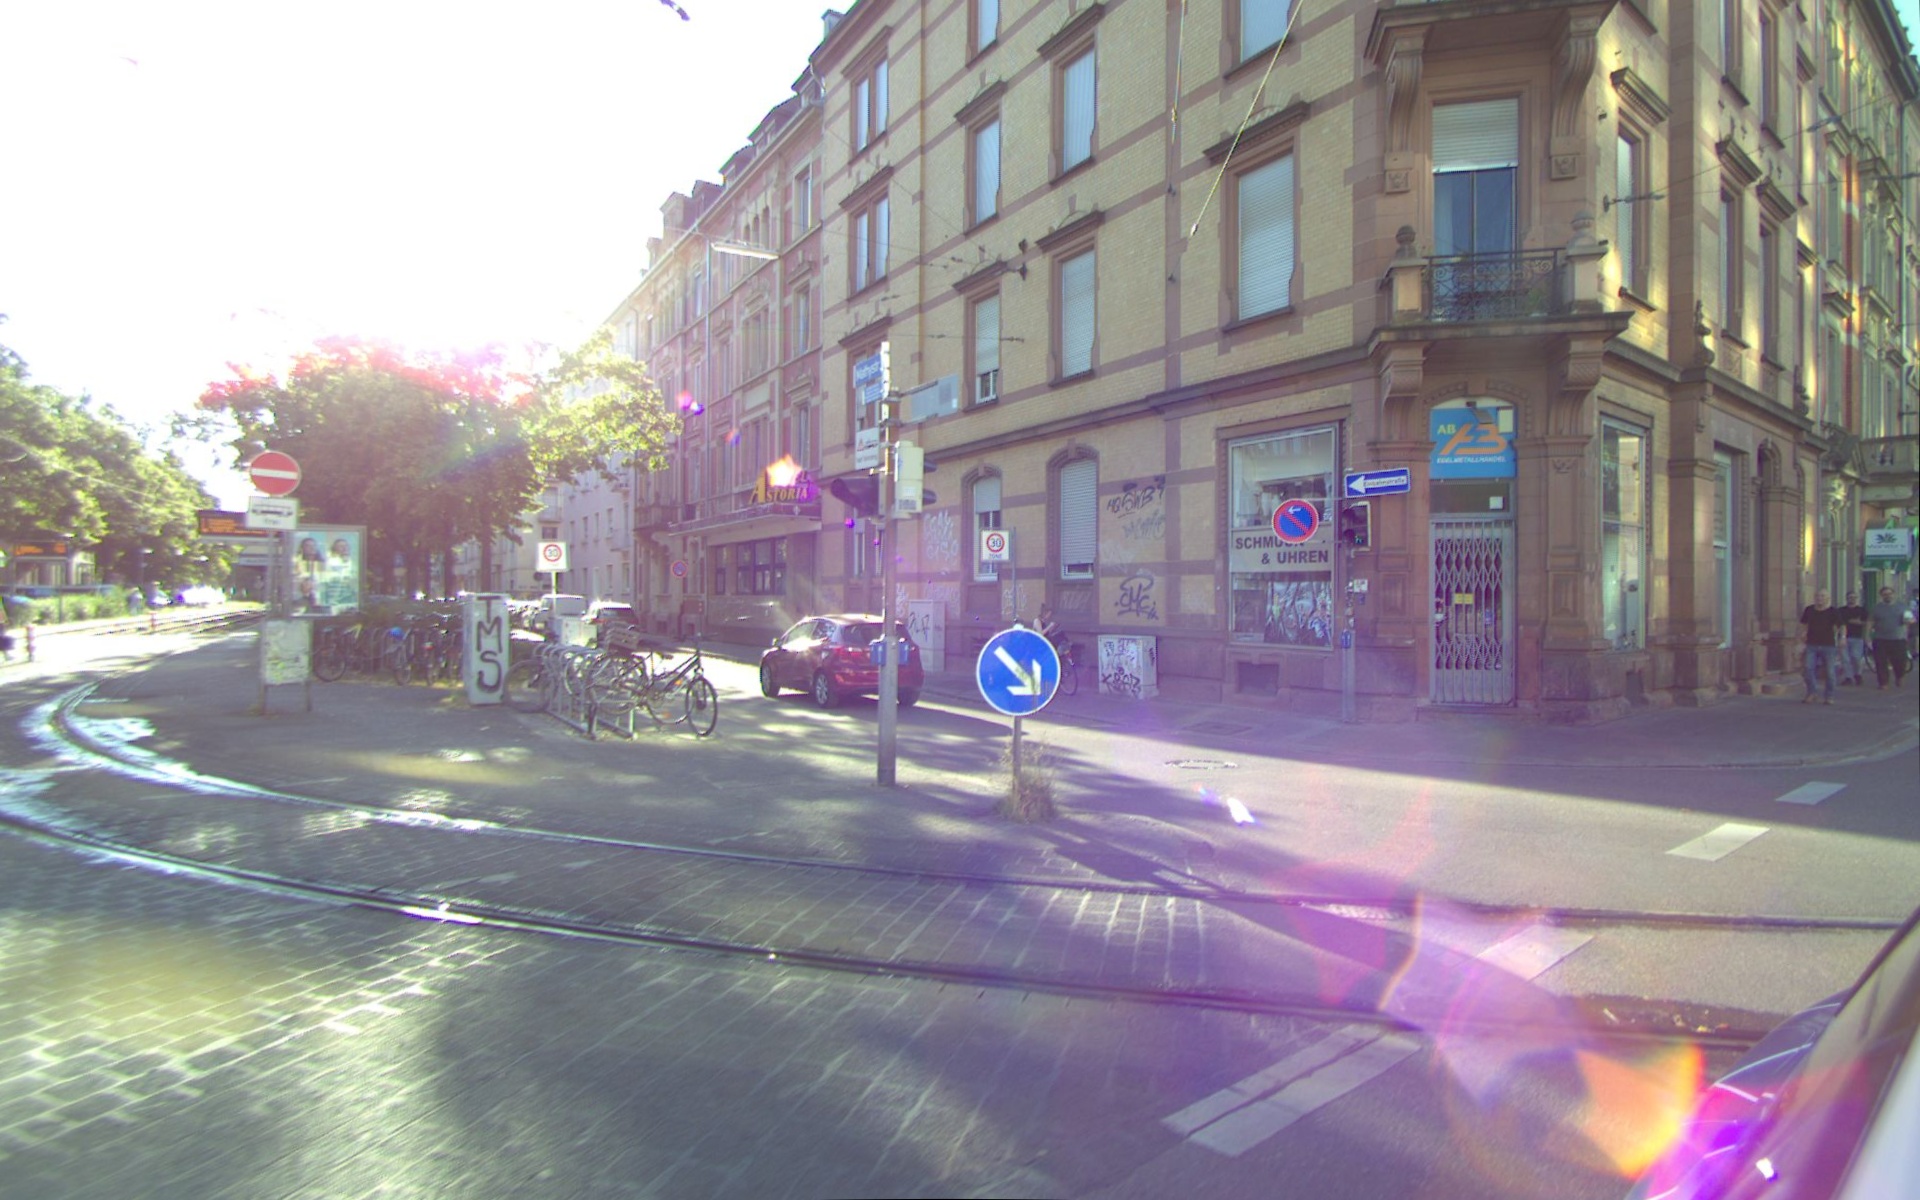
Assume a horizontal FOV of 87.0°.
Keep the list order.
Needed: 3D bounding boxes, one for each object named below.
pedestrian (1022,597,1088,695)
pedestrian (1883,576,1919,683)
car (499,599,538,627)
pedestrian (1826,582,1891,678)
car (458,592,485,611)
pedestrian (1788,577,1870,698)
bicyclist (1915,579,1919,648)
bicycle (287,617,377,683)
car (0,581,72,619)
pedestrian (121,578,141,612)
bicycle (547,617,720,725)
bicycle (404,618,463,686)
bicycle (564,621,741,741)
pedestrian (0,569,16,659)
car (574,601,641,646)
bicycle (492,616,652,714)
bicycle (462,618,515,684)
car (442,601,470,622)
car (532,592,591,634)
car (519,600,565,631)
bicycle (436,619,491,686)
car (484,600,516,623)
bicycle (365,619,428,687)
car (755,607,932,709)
[{"bbox_3d":[1.628,0.780,17.445,0.749,1.590,0.745,-4,1,-33],"label":"pedestrian"},{"bbox_3d":[17.576,0.533,18.554,0.740,1.918,0.824,1,1,-39],"label":"pedestrian"},{"bbox_3d":[-25.700,0.750,58.873,1.663,1.534,3.583,3,-1,-30],"label":"car"},{"bbox_3d":[17.085,0.552,19.237,0.741,1.744,0.777,1,1,-39],"label":"pedestrian"},{"bbox_3d":[-40.304,0.114,83.455,1.663,1.534,3.583,3,-1,-30],"label":"car"},{"bbox_3d":[13.056,0.532,15.200,0.741,1.744,0.777,1,1,-39],"label":"pedestrian"},{"bbox_3d":[26.849,0.369,27.849,0.593,1.906,0.738,0,0,25],"label":"bicyclist"},{"bbox_3d":[-11.590,0.901,18.750,0.491,1.121,1.799,0,0,3],"label":"bicycle"},{"bbox_3d":[-50.343,0.014,53.972,4.191,1.949,1.945,-1,0,-1],"label":"car"},{"bbox_3d":[-46.279,-0.304,56.505,0.669,1.853,0.607,3,-1,-28],"label":"pedestrian"},{"bbox_3d":[-4.183,0.901,13.028,1.930,1.279,0.756,3,-2,-35],"label":"bicycle"},{"bbox_3d":[-9.538,0.913,18.385,0.490,1.121,1.803,0,0,-12],"label":"bicycle"},{"bbox_3d":[-3.554,0.911,11.764,1.800,1.279,0.756,2,-1,-35],"label":"bicycle"},{"bbox_3d":[-22.215,0.305,23.050,0.846,2.039,0.607,3,-1,-28],"label":"pedestrian"},{"bbox_3d":[-13.259,0.857,37.991,1.663,1.534,3.583,3,-1,-30],"label":"car"},{"bbox_3d":[-5.440,0.902,14.249,1.930,1.279,0.756,3,-2,-35],"label":"bicycle"},{"bbox_3d":[-8.643,0.907,18.611,0.490,1.121,1.803,0,0,-12],"label":"bicycle"},{"bbox_3d":[-37.900,0.874,76.043,1.663,1.534,3.583,1,-1,-30],"label":"car"},{"bbox_3d":[-18.786,0.595,47.577,1.937,1.842,3.986,3,-1,-30],"label":"car"},{"bbox_3d":[-21.610,0.777,52.256,1.663,1.534,3.583,3,-1,-30],"label":"car"},{"bbox_3d":[-9.061,0.931,18.514,0.490,1.121,1.803,0,0,-12],"label":"bicycle"},{"bbox_3d":[-31.703,0.767,69.737,1.663,1.534,3.583,1,-1,-30],"label":"car"},{"bbox_3d":[-10.175,0.923,18.330,0.490,1.121,1.803,0,0,-12],"label":"bicycle"},{"bbox_3d":[-2.068,0.892,17.153,1.663,1.515,3.583,1,-1,-31],"label":"car"}]
